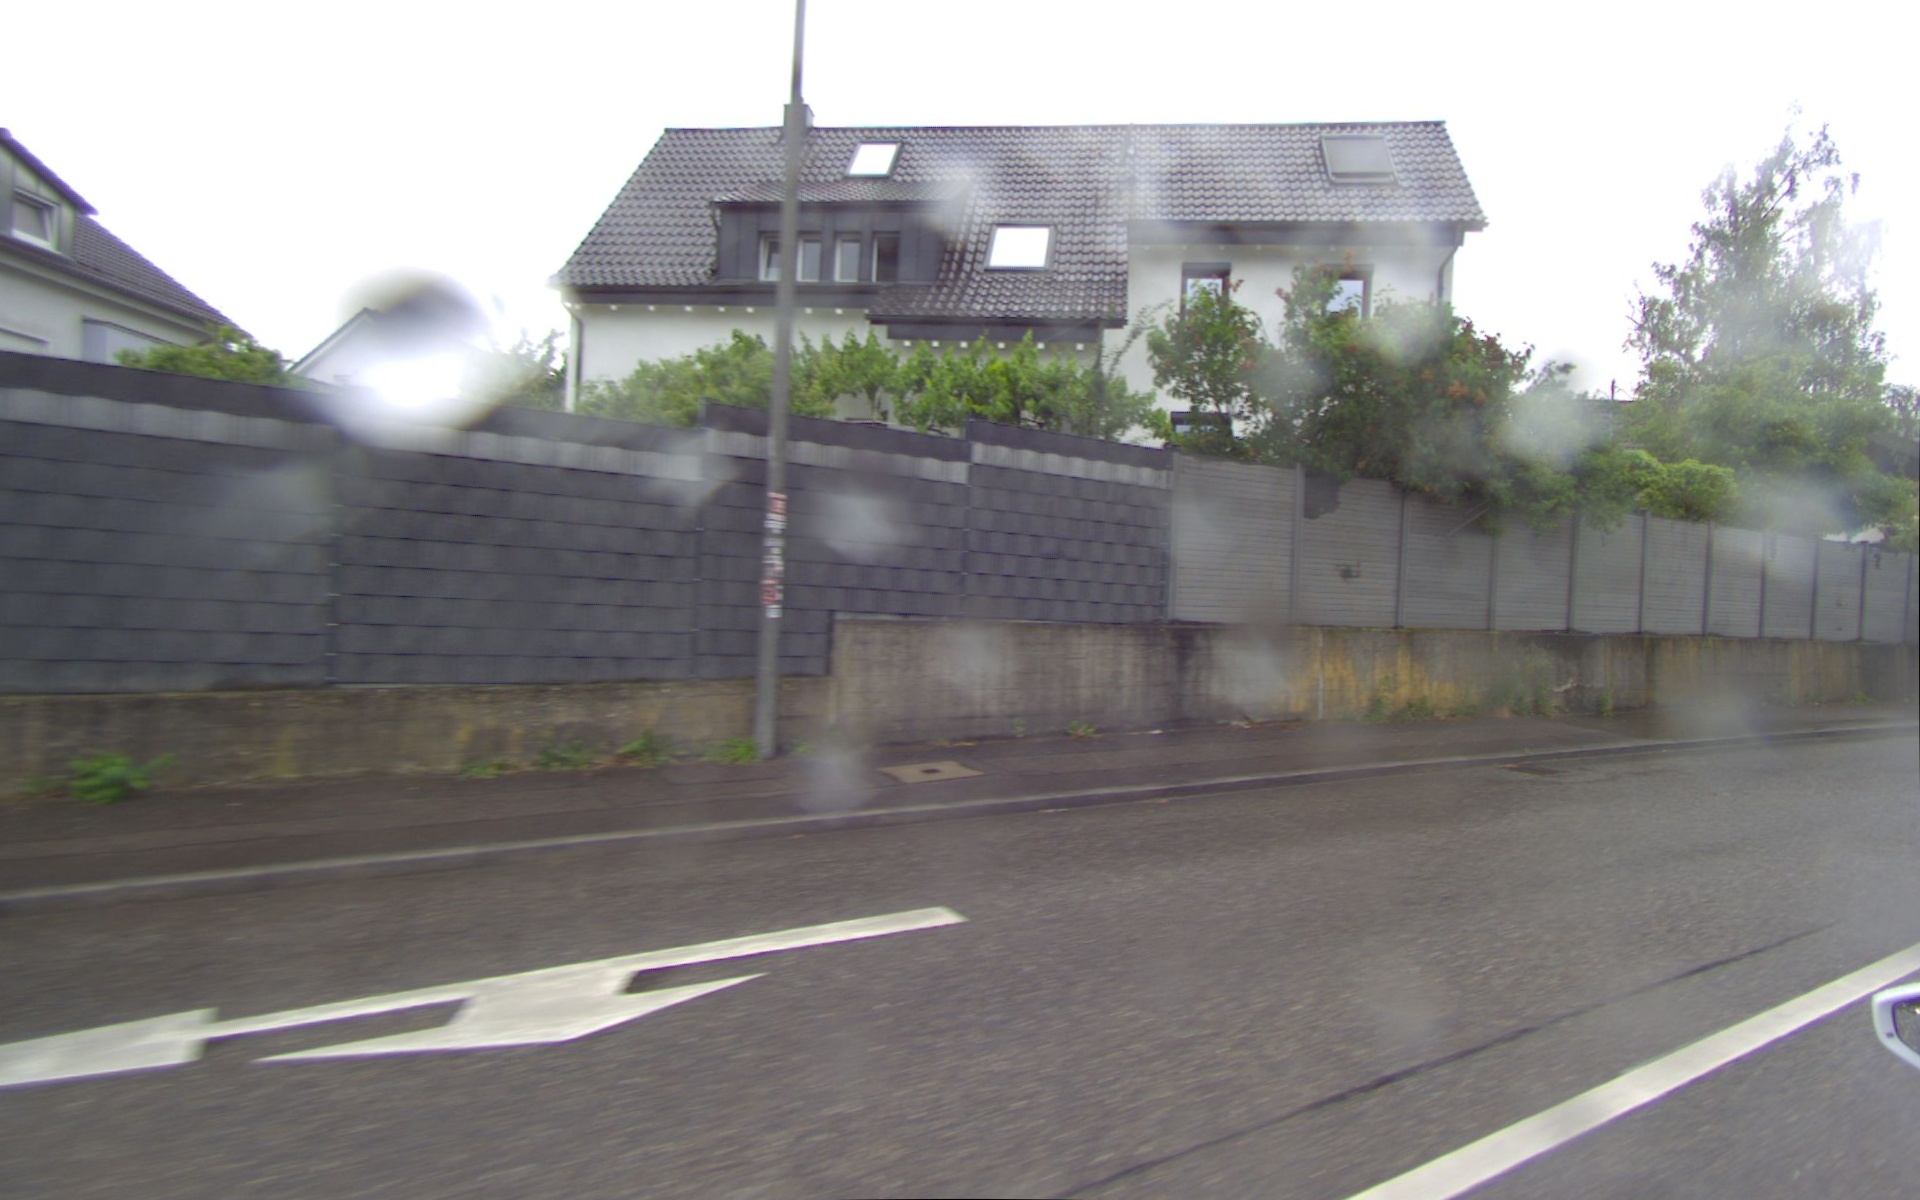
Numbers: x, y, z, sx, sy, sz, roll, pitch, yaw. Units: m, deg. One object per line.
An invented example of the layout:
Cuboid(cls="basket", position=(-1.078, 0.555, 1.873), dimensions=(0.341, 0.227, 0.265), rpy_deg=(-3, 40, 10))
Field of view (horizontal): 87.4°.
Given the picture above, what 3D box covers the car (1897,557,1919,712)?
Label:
Cuboid(cls="car", position=(19.582, 0.713, 18.076), dimensions=(5.844, 2.684, 2.086), rpy_deg=(2, 1, -28))
